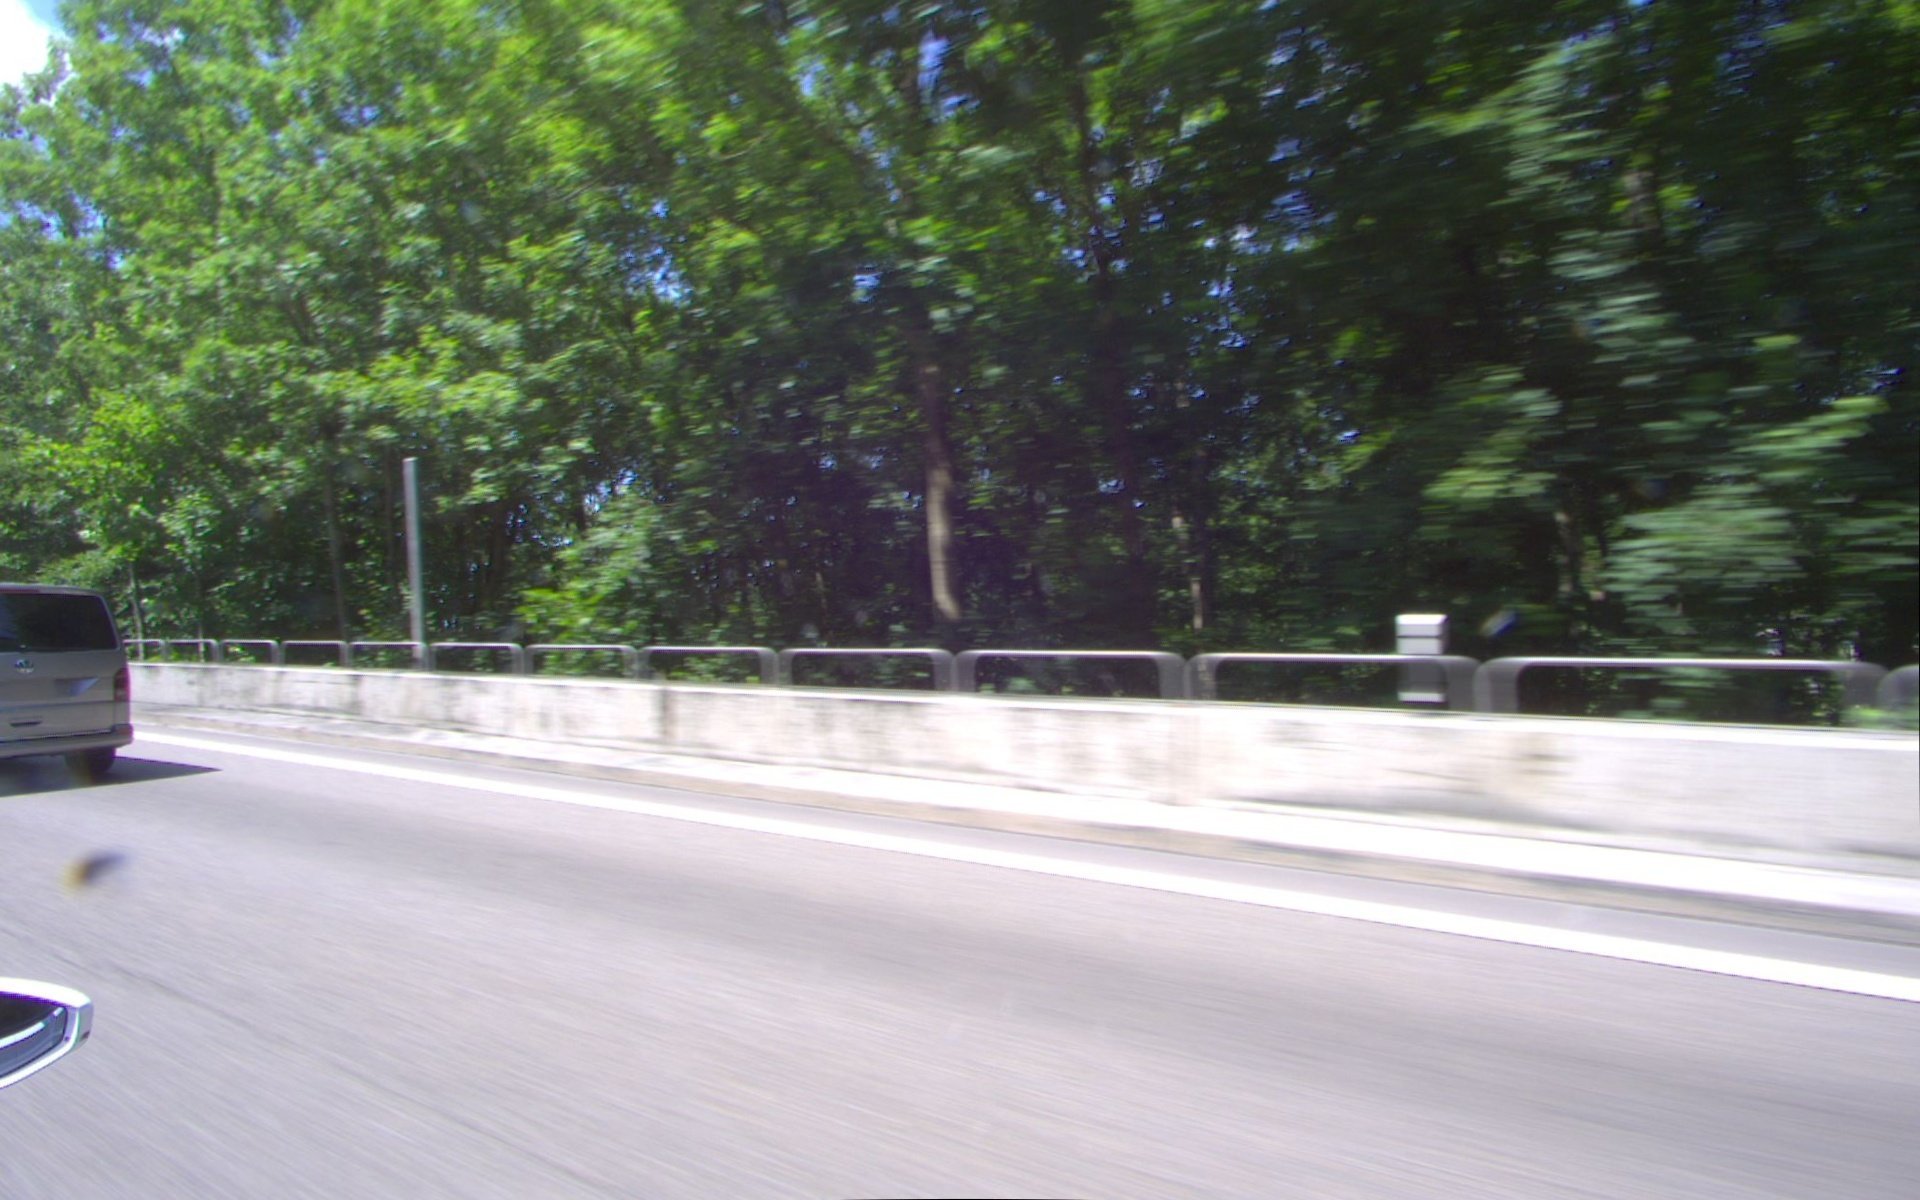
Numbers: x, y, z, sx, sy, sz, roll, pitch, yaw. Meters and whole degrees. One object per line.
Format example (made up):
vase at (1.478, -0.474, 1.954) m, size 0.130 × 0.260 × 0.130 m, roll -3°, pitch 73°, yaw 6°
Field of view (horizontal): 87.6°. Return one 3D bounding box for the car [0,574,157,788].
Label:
car at (-10.648, 0.778, 10.489) m, size 4.624 × 1.956 × 1.938 m, roll -1°, pitch -1°, yaw 30°
